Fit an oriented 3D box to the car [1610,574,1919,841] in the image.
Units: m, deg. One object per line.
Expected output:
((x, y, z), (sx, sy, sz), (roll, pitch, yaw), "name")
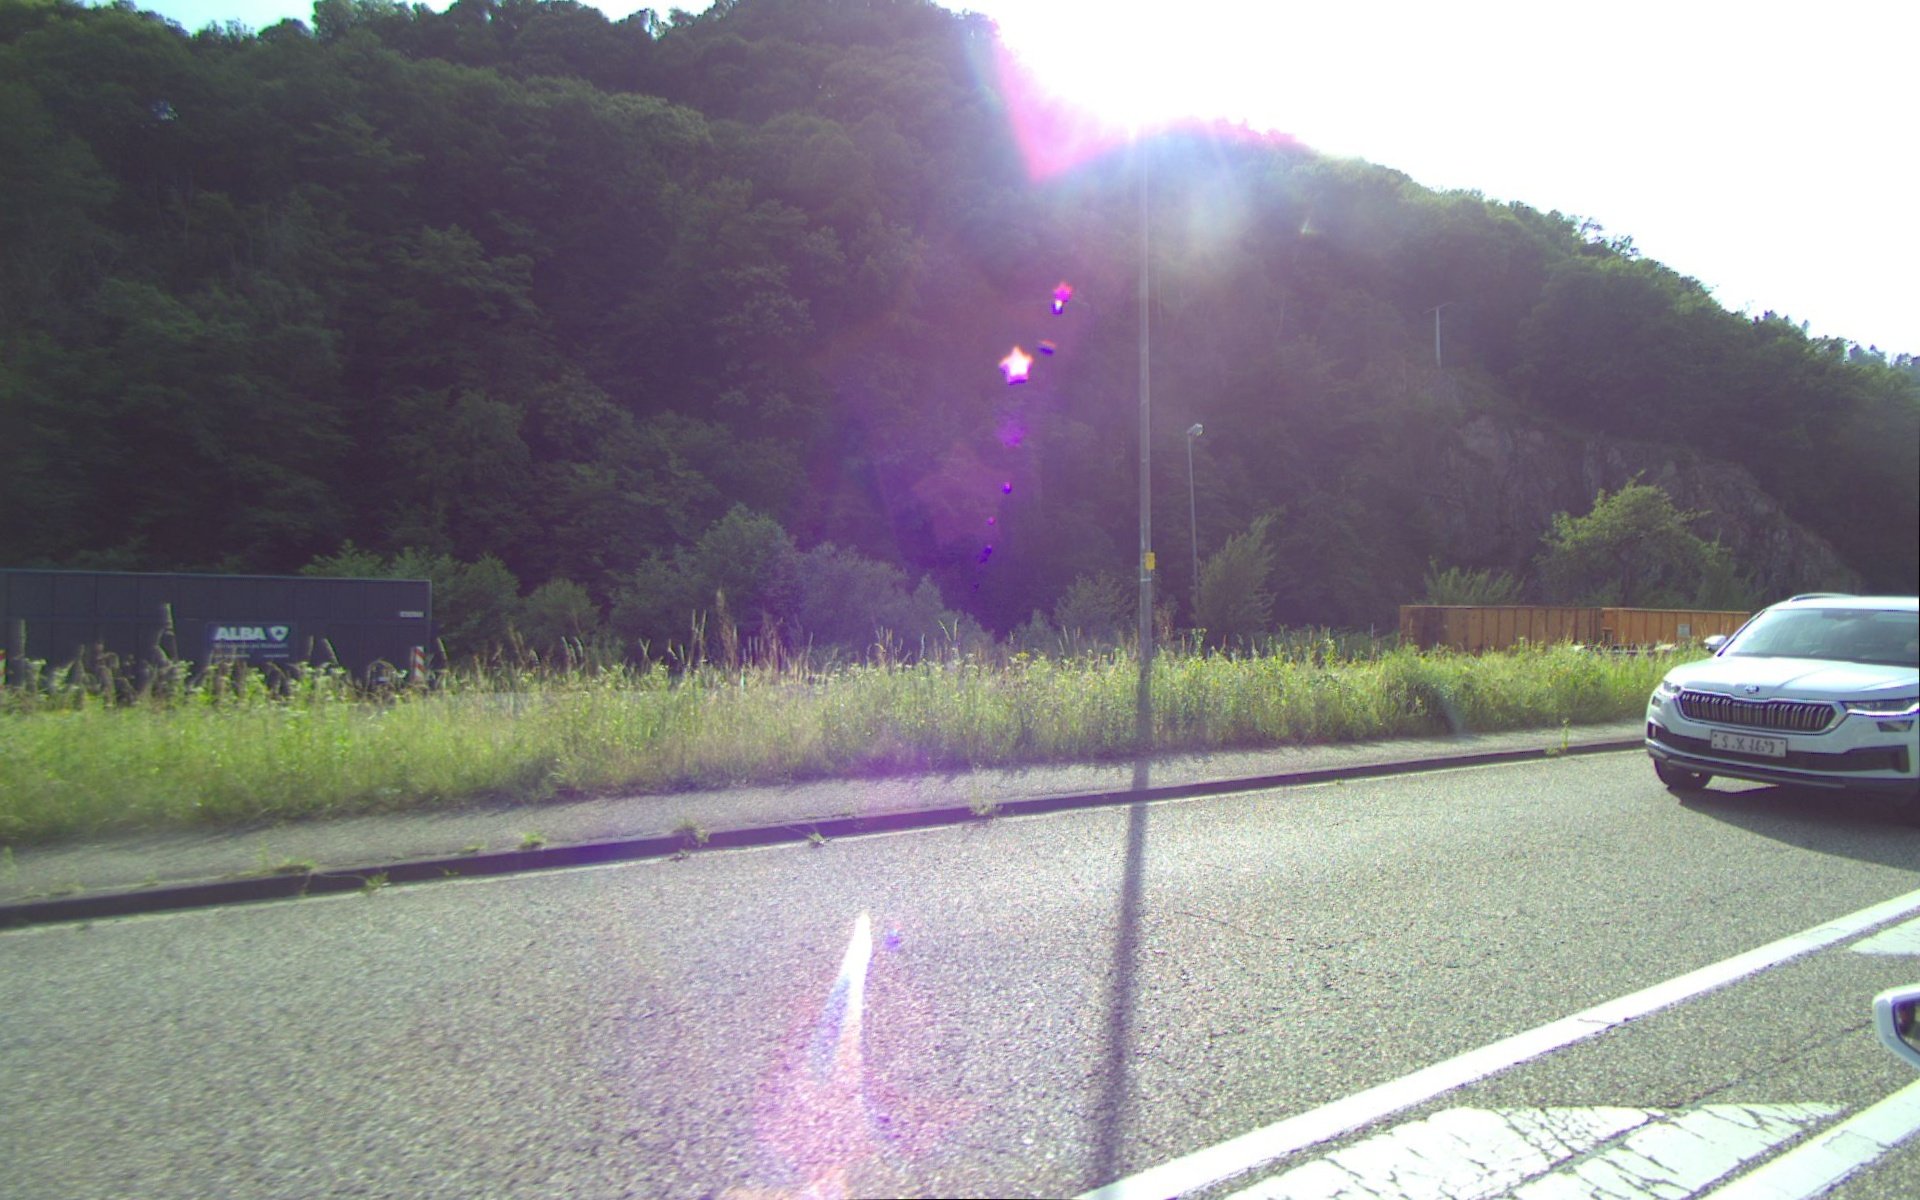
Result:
((7.847, 0.756, 8.672), (4.417, 1.782, 1.984), (1, 0, -31), "car")
